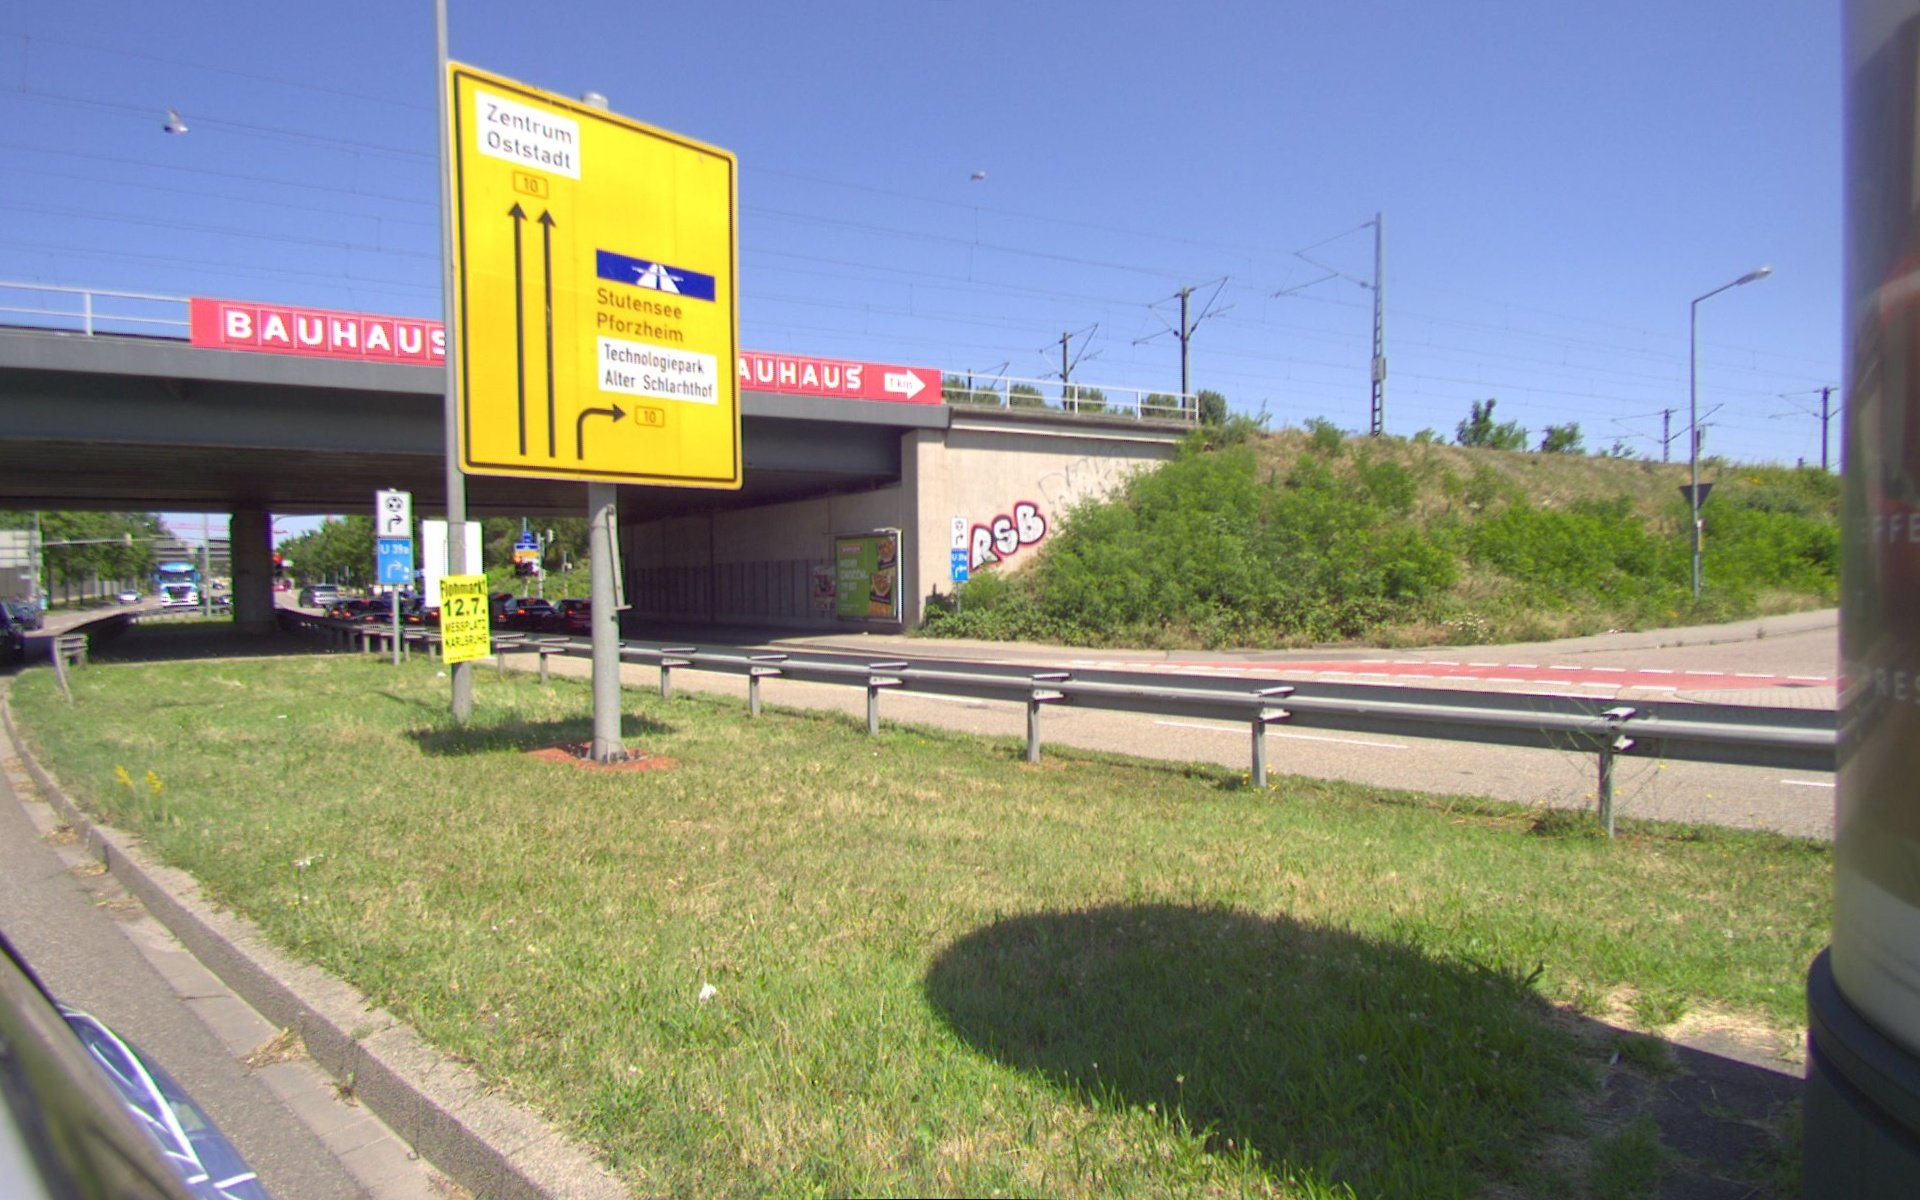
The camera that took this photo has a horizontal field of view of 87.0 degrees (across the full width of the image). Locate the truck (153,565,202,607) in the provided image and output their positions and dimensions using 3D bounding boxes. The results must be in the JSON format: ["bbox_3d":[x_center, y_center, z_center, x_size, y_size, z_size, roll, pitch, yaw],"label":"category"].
[{"bbox_3d":[-66.308,-1.141,85.879,2.973,3.443,6.582,-1,0,-35],"label":"truck"}]

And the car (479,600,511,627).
[{"bbox_3d":[-22.837,0.648,49.638,1.166,1.257,2.700,-1,0,-30],"label":"car"}]

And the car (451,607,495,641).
[{"bbox_3d":[-18.196,0.878,37.798,1.250,1.194,2.786,-1,0,-30],"label":"car"}]

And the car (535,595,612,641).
[{"bbox_3d":[-15.086,0.654,39.369,1.748,1.680,4.024,-1,0,-37],"label":"car"}]

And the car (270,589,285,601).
[{"bbox_3d":[-114.384,-0.814,169.599,1.967,2.029,4.009,-1,0,-36],"label":"car"}]

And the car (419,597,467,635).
[{"bbox_3d":[-21.784,0.638,42.612,1.593,1.487,3.443,-1,0,-30],"label":"car"}]

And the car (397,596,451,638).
[{"bbox_3d":[-25.683,0.781,48.424,1.877,1.874,4.010,-1,0,-34],"label":"car"}]

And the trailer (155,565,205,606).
[{"bbox_3d":[-70.010,-1.202,91.068,2.916,3.398,13.929,-1,0,-35],"label":"trailer"}]

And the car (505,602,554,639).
[{"bbox_3d":[-18.778,0.843,44.072,1.548,1.514,3.417,-1,0,-30],"label":"car"}]

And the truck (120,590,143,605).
[{"bbox_3d":[-89.434,-0.278,109.271,1.704,1.513,4.010,-1,0,-35],"label":"truck"}]

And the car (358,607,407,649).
[{"bbox_3d":[-20.049,0.941,35.093,1.389,1.329,3.271,-1,0,-31],"label":"car"}]

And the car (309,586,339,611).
[{"bbox_3d":[-52.162,-0.125,82.944,1.966,2.029,4.011,-1,0,-33],"label":"car"}]

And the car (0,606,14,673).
[{"bbox_3d":[-26.162,1.017,26.630,1.819,1.708,3.703,-1,0,-43],"label":"car"}]
